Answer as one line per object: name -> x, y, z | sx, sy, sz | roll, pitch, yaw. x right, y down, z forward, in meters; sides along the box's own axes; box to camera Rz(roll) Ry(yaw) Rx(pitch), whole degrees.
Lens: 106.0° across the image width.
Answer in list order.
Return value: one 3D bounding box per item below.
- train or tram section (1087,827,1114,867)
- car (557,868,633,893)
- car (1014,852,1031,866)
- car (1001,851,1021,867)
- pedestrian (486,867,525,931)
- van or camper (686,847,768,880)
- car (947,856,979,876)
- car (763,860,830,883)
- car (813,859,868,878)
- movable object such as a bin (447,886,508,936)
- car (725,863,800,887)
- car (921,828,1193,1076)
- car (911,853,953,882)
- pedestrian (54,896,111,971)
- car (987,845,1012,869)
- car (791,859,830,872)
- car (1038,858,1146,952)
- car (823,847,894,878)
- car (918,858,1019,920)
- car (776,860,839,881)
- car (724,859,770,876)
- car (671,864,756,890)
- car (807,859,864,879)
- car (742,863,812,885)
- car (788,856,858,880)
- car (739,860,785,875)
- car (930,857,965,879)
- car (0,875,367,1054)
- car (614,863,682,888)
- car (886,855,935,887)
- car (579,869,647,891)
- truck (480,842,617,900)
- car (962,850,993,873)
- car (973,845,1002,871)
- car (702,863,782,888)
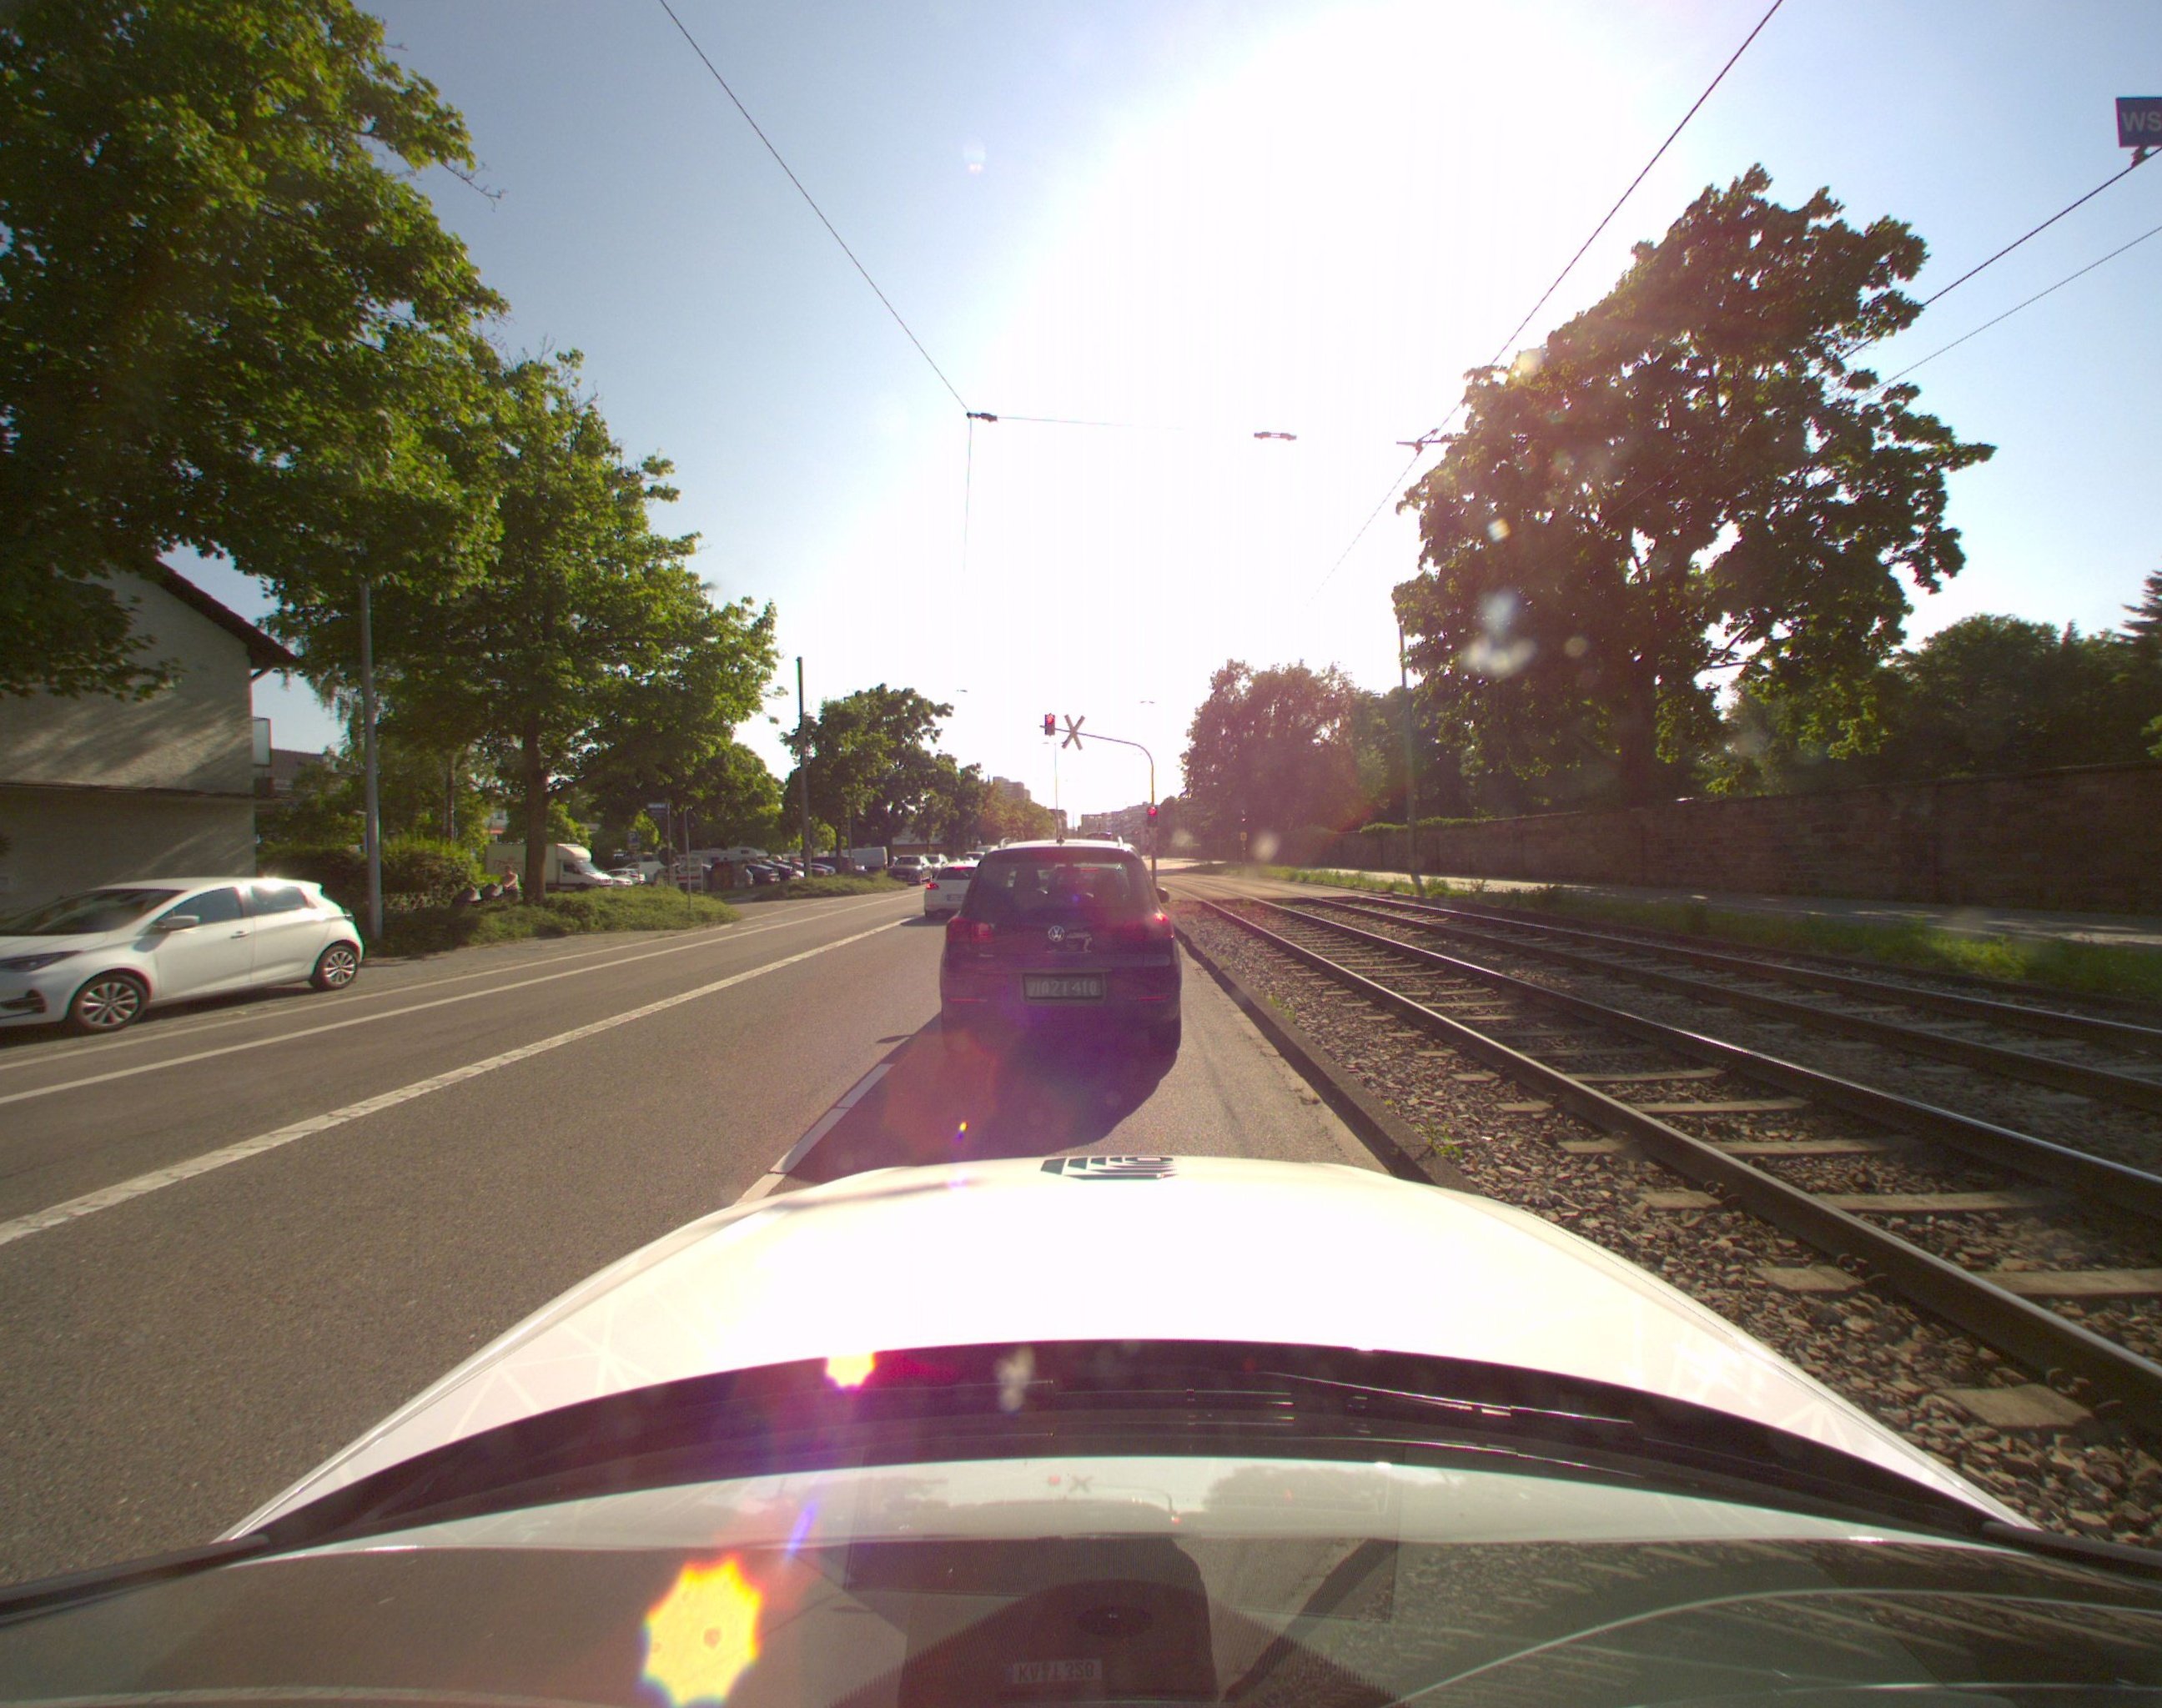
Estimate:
train or tram section -> 1.907, -0.644, 77.284 | 2.318, 3.570, 8.903 | -2, 0, 2
car -> -32.726, 1.777, 54.928 | 3.976, 1.457, 1.736 | -2, 0, -2
car -> -7.636, 0.680, 106.613 | 1.724, 1.694, 4.004 | -2, 1, 3
car -> -8.208, 0.547, 95.234 | 1.724, 1.694, 4.004 | -2, 1, 3
pedestrian -> -15.184, 1.176, 21.494 | 0.522, 1.628, 0.610 | -2, 0, 1
van or camper -> -32.594, 0.844, 75.041 | 6.439, 2.868, 2.308 | -1, 0, 2
car -> -9.332, 0.940, 64.769 | 1.724, 1.450, 3.738 | -2, 1, 3
car -> -19.798, 1.213, 56.731 | 3.976, 1.397, 1.736 | -2, 0, -2
car -> -19.625, 1.189, 66.621 | 3.976, 1.397, 1.736 | -2, 0, -2
movable object such as a bin -> -15.204, 1.410, 20.549 | 0.540, 1.146, 1.261 | -2, 0, 2
car -> -20.005, 1.319, 51.255 | 3.976, 1.307, 1.736 | -2, 0, -2
car -> -0.098, 0.663, 7.454 | 1.804, 1.645, 4.002 | -1, 0, 2
car -> -9.659, 0.848, 53.084 | 1.724, 1.694, 4.004 | -2, 1, 3
pedestrian -> -16.280, 1.286, 13.279 | 0.344, 1.162, 0.447 | -2, 0, 9
car -> -8.337, 0.293, 83.584 | 1.724, 2.268, 4.648 | -2, 0, 3
car -> -31.645, 1.343, 95.289 | 3.976, 1.397, 1.736 | -2, 0, -2
car -> 0.240, 0.819, 14.910 | 1.663, 1.386, 4.002 | -2, 0, 2
car -> -19.118, 0.705, 70.128 | 5.356, 2.423, 2.088 | -2, 0, 1
car -> -2.725, 0.822, 20.649 | 1.858, 1.348, 4.002 | -1, 0, 2
car -> -19.984, 1.211, 59.676 | 3.976, 1.397, 1.736 | -2, 0, -2
car -> -32.011, 1.291, 78.199 | 3.653, 1.397, 1.736 | -2, 0, -2
car -> -20.793, 1.287, 46.241 | 3.976, 1.307, 1.736 | -2, 0, -2
car -> -19.414, 1.193, 64.587 | 3.976, 1.397, 1.736 | -2, 0, -2
car -> -20.325, 1.321, 54.525 | 3.976, 1.307, 1.736 | -2, 0, -2
car -> -19.633, 1.074, 62.088 | 4.604, 1.651, 2.048 | -2, 0, -1
car -> -32.591, 1.391, 83.384 | 3.976, 1.397, 1.736 | -2, 0, -2
car -> -9.612, 0.979, 58.888 | 1.724, 1.389, 3.738 | -2, 1, 3
car -> -10.812, 1.078, 9.490 | 1.596, 1.550, 3.892 | 0, 0, -1
car -> -31.884, 1.569, 60.031 | 3.981, 1.728, 1.623 | -2, 0, -6
car -> -9.802, 0.956, 47.054 | 1.724, 1.657, 4.003 | -2, 0, 3
car -> -33.135, 1.829, 57.699 | 3.966, 1.361, 1.630 | -2, 0, 6
truck -> -32.560, 1.000, 49.919 | 6.941, 3.242, 1.987 | -2, 0, -1
car -> -8.868, 0.644, 70.083 | 1.724, 1.860, 4.493 | -2, 0, 3
car -> -8.746, 0.357, 76.759 | 1.856, 2.347, 4.989 | -2, 0, 3
car -> -20.192, 1.259, 48.643 | 3.976, 1.307, 1.736 | -2, 0, -2
